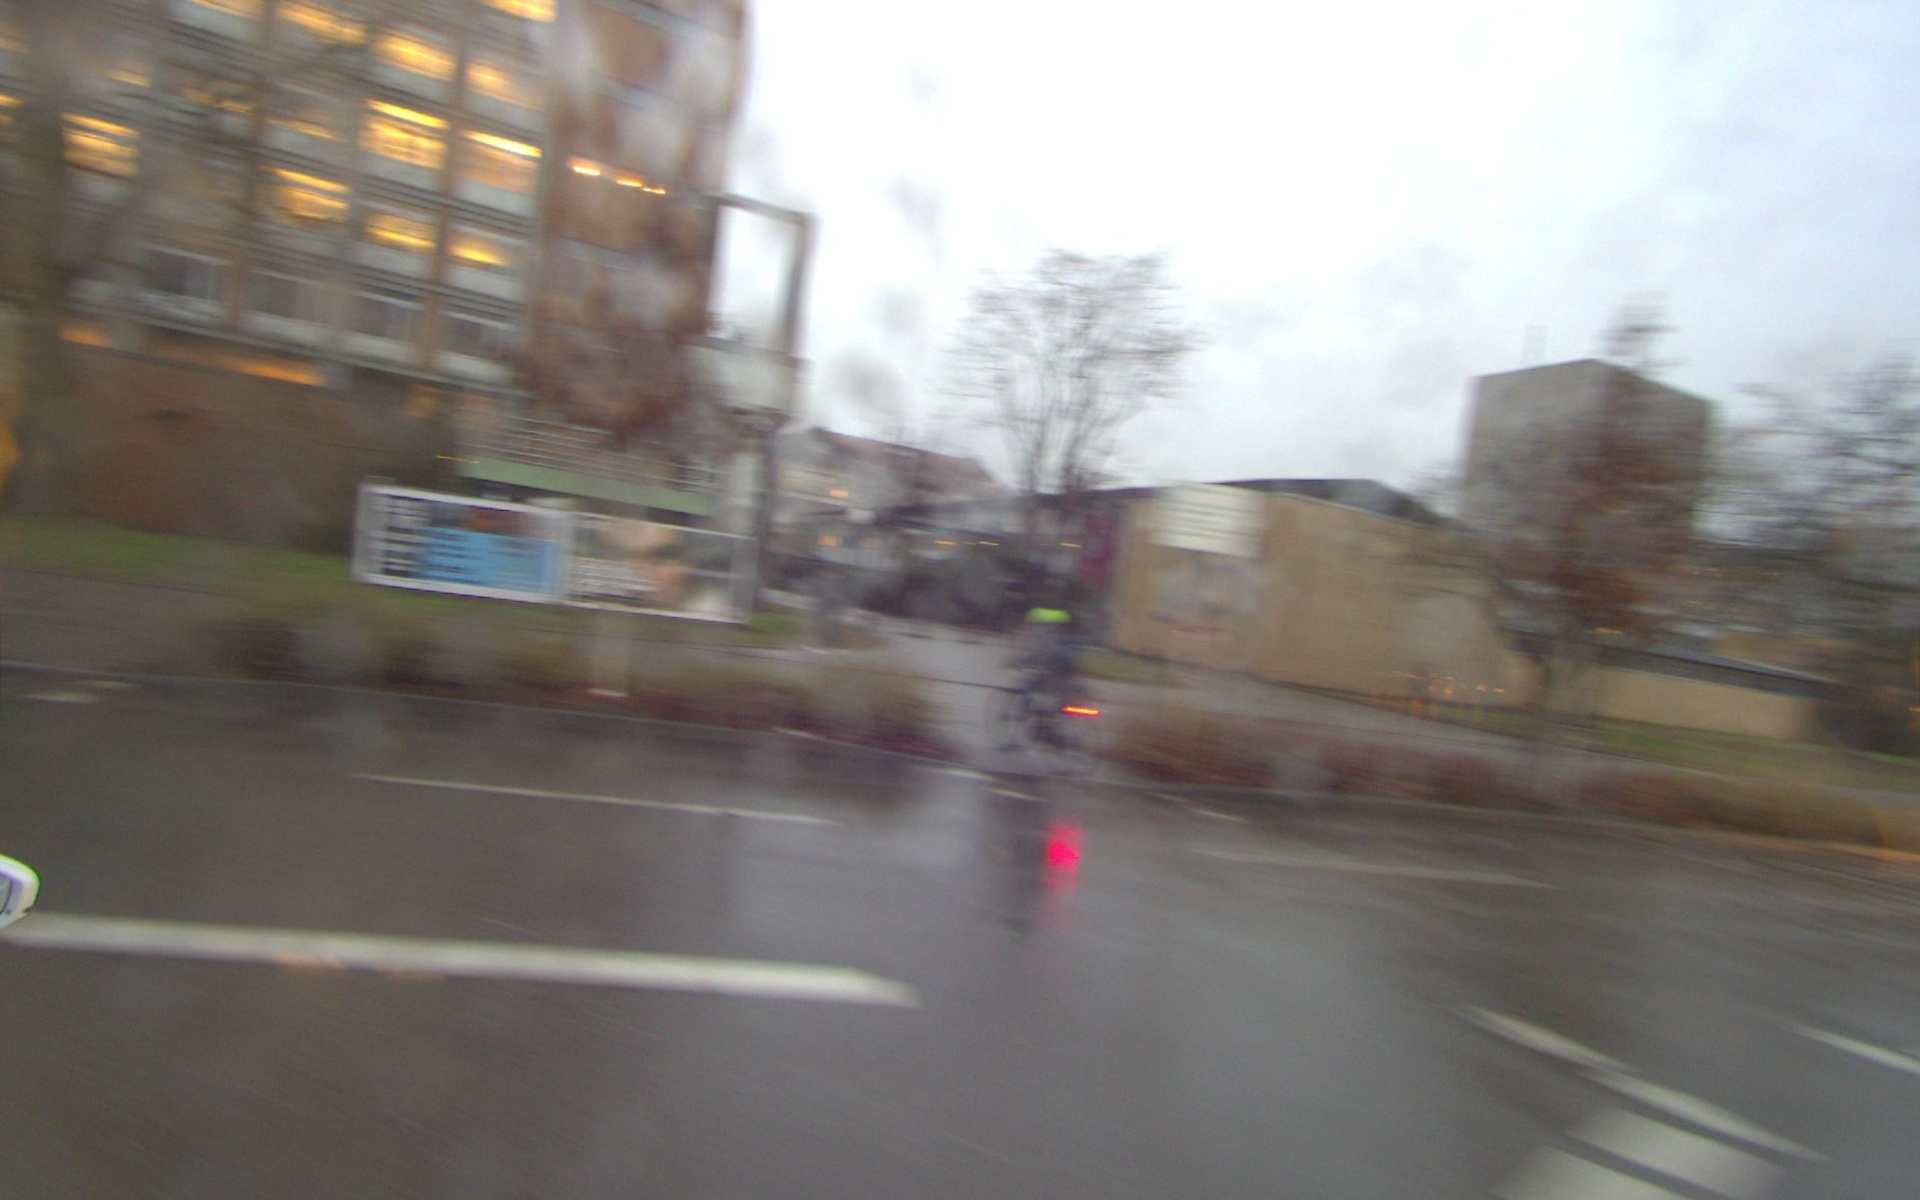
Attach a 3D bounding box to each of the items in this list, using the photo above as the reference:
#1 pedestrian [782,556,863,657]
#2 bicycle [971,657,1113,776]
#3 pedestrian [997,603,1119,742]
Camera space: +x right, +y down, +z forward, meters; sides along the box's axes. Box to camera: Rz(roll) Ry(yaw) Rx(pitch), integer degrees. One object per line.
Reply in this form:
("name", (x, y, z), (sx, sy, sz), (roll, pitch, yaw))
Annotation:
("pedestrian", (-2.578, 0.124, 18.901), (0.899, 1.709, 0.923), (11, 3, 40))
("bicycle", (0.851, 1.249, 11.196), (0.556, 0.959, 2.082), (6, 1, -24))
("pedestrian", (1.047, 0.774, 10.889), (0.866, 1.334, 0.843), (6, 2, -24))
